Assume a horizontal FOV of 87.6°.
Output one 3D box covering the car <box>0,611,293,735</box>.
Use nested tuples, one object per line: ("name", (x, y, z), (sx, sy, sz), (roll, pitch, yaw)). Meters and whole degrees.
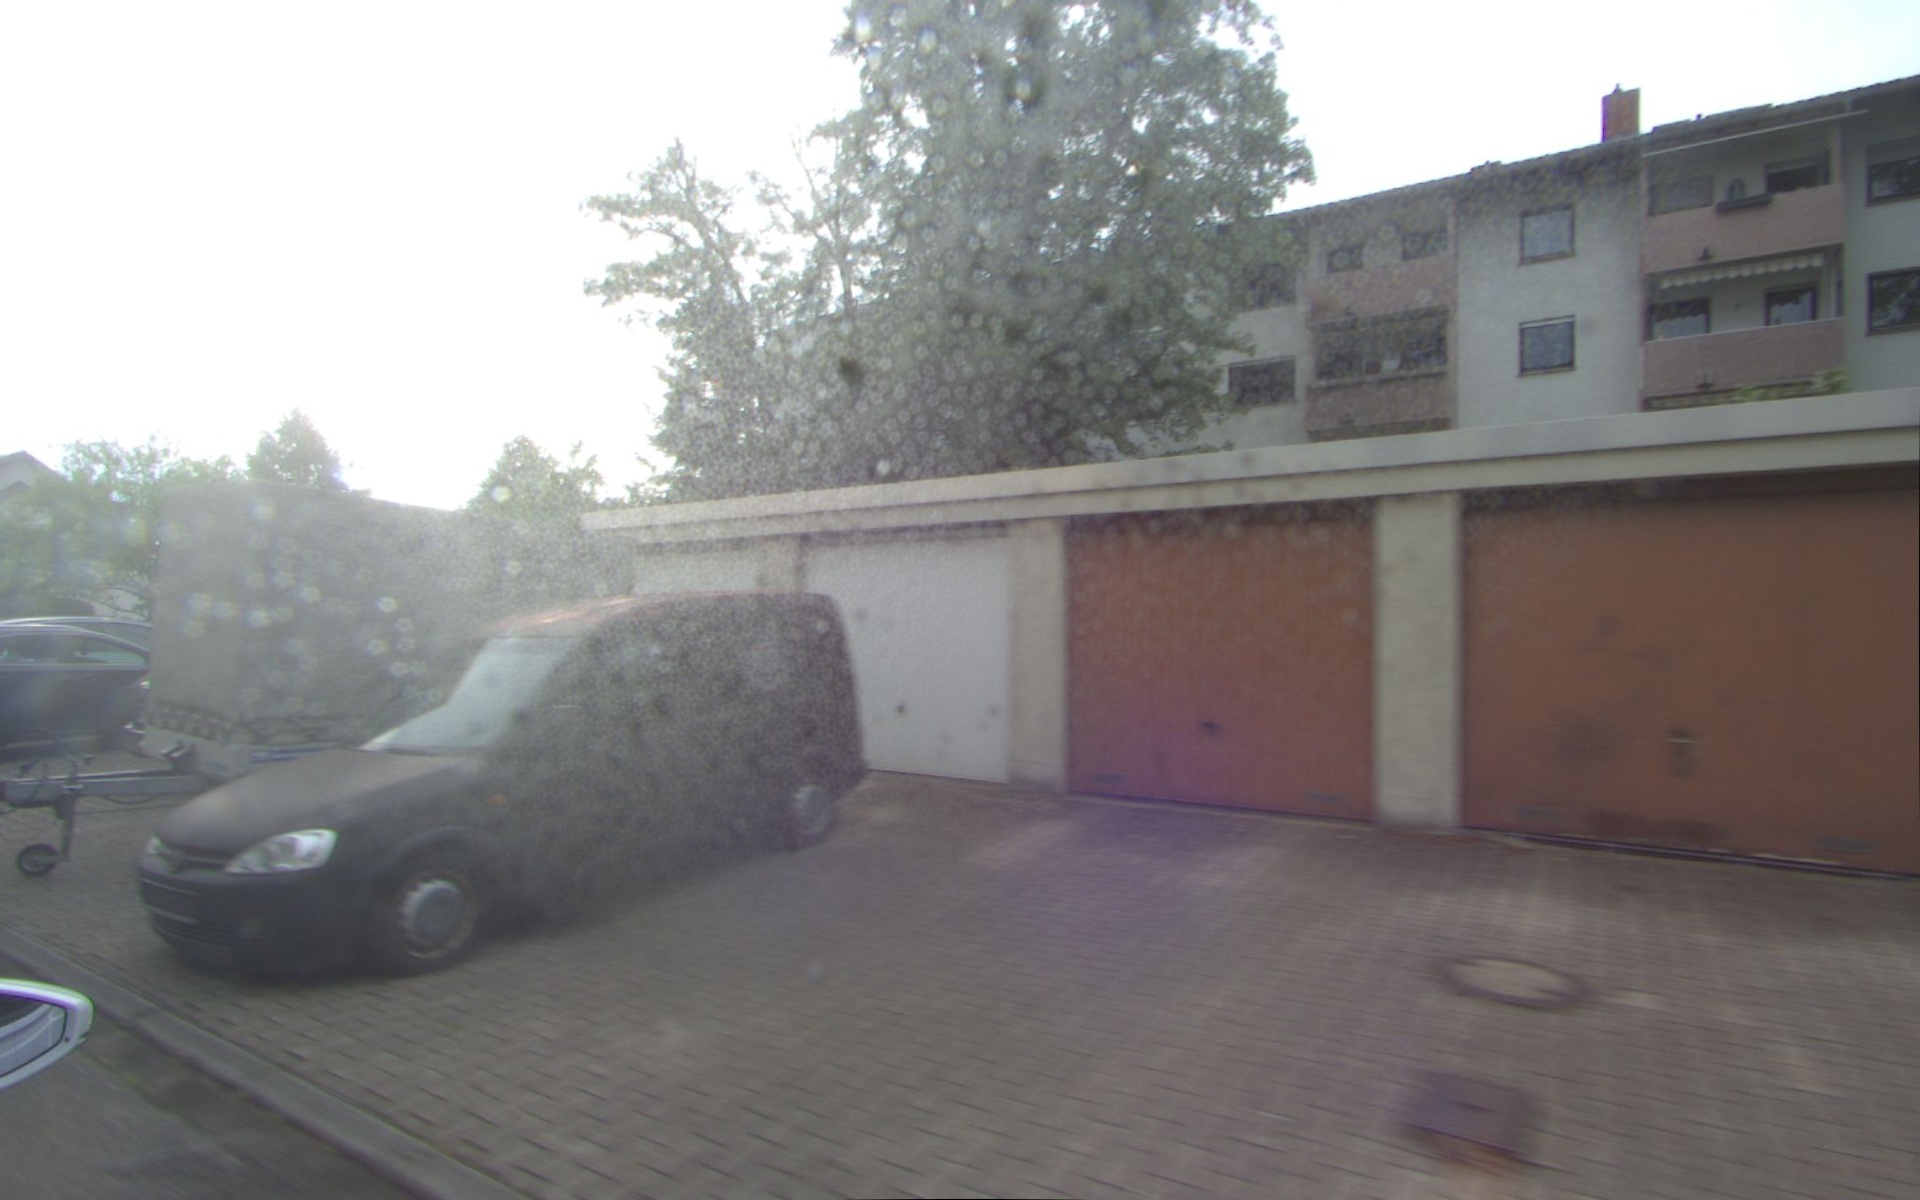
("car", (-12.621, 0.980, 14.512), (1.961, 1.609, 4.527), (0, -1, 34))

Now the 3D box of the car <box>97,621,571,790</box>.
("car", (-6.514, 0.984, 10.922), (1.589, 1.467, 4.121), (0, -1, 32))

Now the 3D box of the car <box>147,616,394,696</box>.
("car", (-14.602, 1.141, 21.402), (1.998, 1.530, 3.891), (0, -1, 32))

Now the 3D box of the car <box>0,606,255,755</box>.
("car", (-10.928, 0.868, 11.729), (1.964, 1.572, 3.993), (0, 0, 17))

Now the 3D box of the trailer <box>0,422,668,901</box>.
("trailer", (-4.734, 0.422, 7.741), (1.915, 2.557, 4.601), (0, -2, 33))

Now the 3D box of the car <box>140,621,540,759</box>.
("car", (-7.772, 1.023, 12.905), (1.889, 1.467, 3.985), (0, -1, 35))

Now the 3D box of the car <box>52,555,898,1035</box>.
("car", (-2.423, 0.728, 6.157), (1.971, 1.826, 4.301), (0, 1, 32))
